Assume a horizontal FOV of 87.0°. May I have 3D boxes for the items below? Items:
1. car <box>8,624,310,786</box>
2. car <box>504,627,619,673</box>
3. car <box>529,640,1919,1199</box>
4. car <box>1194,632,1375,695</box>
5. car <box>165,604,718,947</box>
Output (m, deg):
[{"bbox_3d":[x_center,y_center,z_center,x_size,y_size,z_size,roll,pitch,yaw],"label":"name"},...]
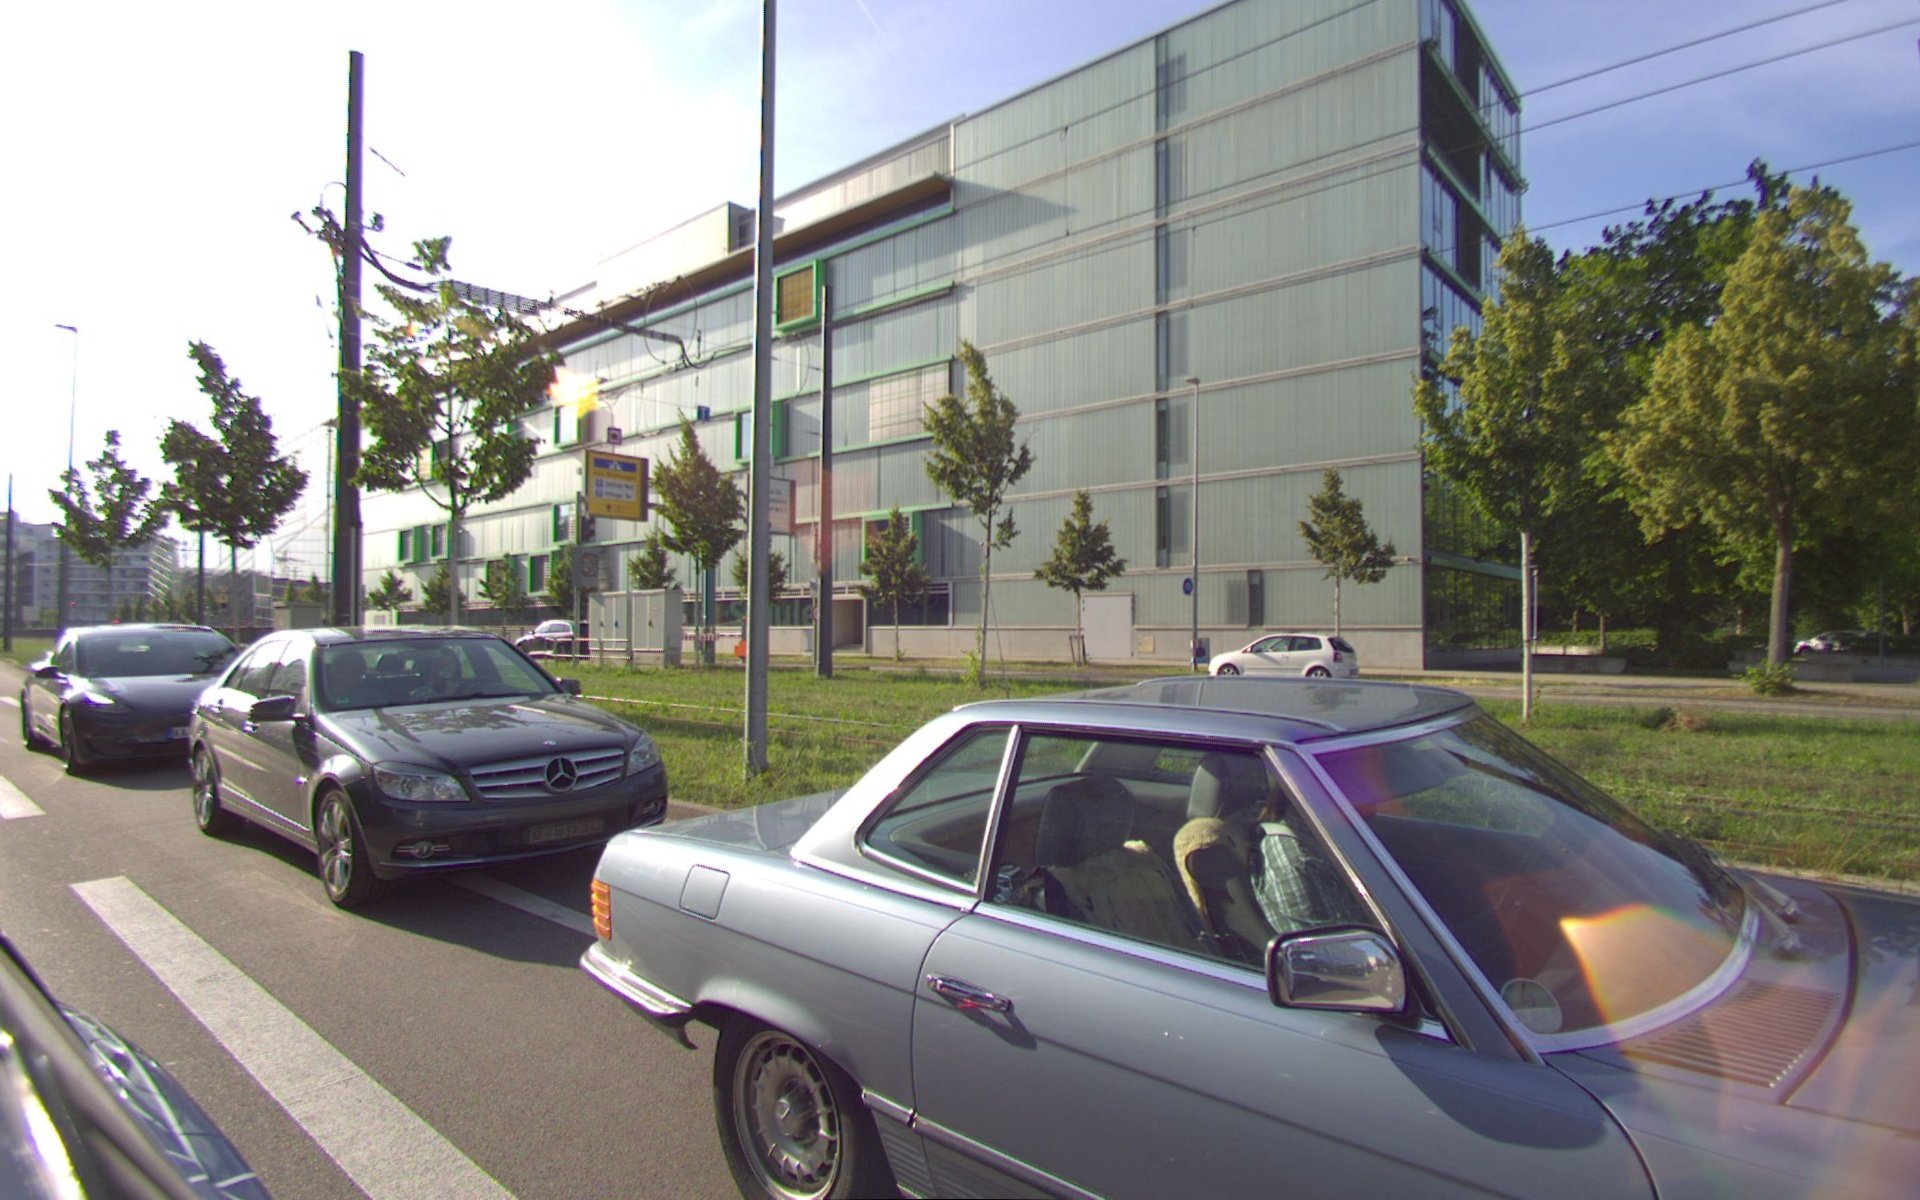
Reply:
[{"bbox_3d":[-8.954,1.015,11.170,4.332,1.396,1.870,-2,-1,41],"label":"car"},{"bbox_3d":[-15.611,1.941,39.559,4.989,1.697,1.974,-2,-3,39],"label":"car"},{"bbox_3d":[1.008,0.791,2.128,4.396,1.340,1.746,-2,-1,40],"label":"car"},{"bbox_3d":[8.587,1.640,26.979,4.219,1.539,1.858,-2,-3,39],"label":"car"},{"bbox_3d":[-3.602,0.843,6.603,4.352,1.490,1.768,-2,-1,42],"label":"car"}]
